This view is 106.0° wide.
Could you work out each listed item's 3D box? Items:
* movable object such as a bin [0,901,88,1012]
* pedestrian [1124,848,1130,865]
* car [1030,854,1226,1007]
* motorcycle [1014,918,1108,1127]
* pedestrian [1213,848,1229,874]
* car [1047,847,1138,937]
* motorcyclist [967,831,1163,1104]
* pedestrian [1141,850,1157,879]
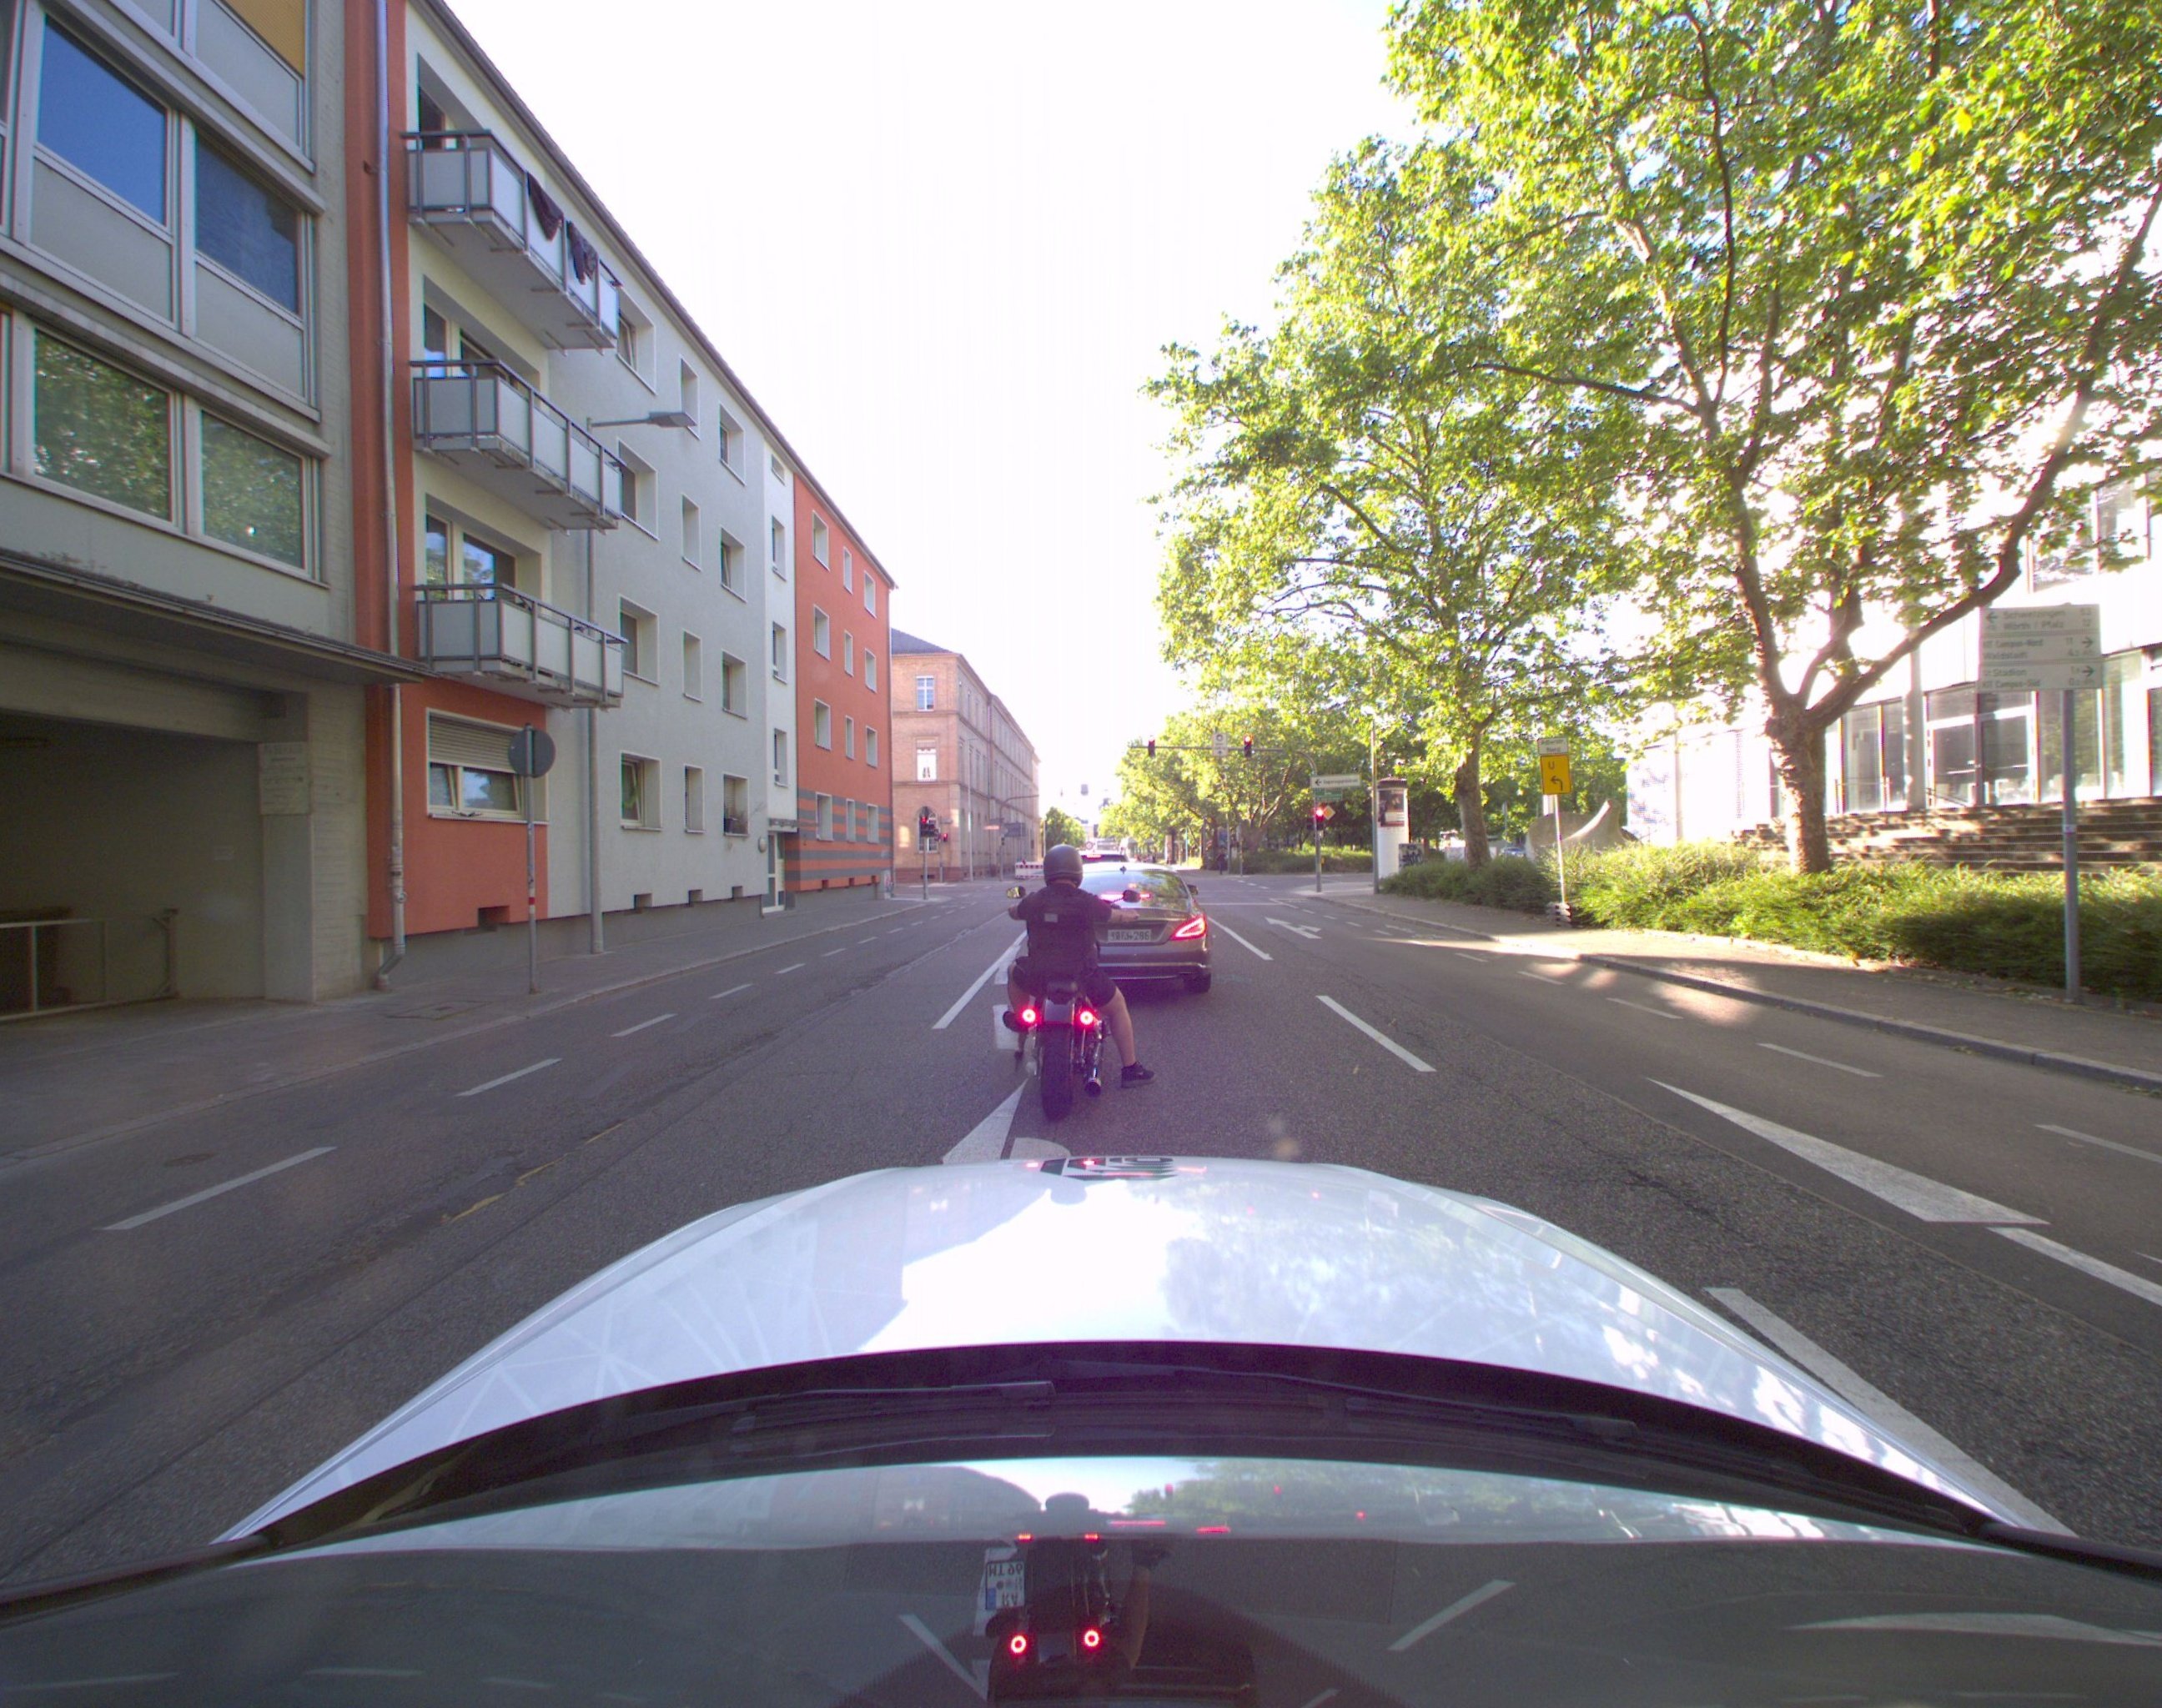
[{"bbox_3d":[-11.259,1.066,8.644,0.626,1.100,0.659,0,-1,4],"label":"movable object such as a bin"},{"bbox_3d":[5.699,0.276,100.913,0.761,2.051,0.712,0,-1,1],"label":"pedestrian"},{"bbox_3d":[0.515,0.740,9.740,1.875,1.449,3.821,0,0,2],"label":"car"},{"bbox_3d":[-0.077,1.005,5.489,0.511,1.002,2.014,0,-1,2],"label":"motorcycle"},{"bbox_3d":[10.401,0.484,60.387,0.753,1.910,0.918,0,-1,-26],"label":"pedestrian"},{"bbox_3d":[0.274,0.693,16.868,1.615,1.594,4.002,-1,0,2],"label":"car"},{"bbox_3d":[-0.073,0.672,5.433,1.145,1.598,1.288,0,-1,1],"label":"motorcyclist"},{"bbox_3d":[4.412,0.661,52.664,0.996,1.826,1.078,0,-1,8],"label":"pedestrian"}]
